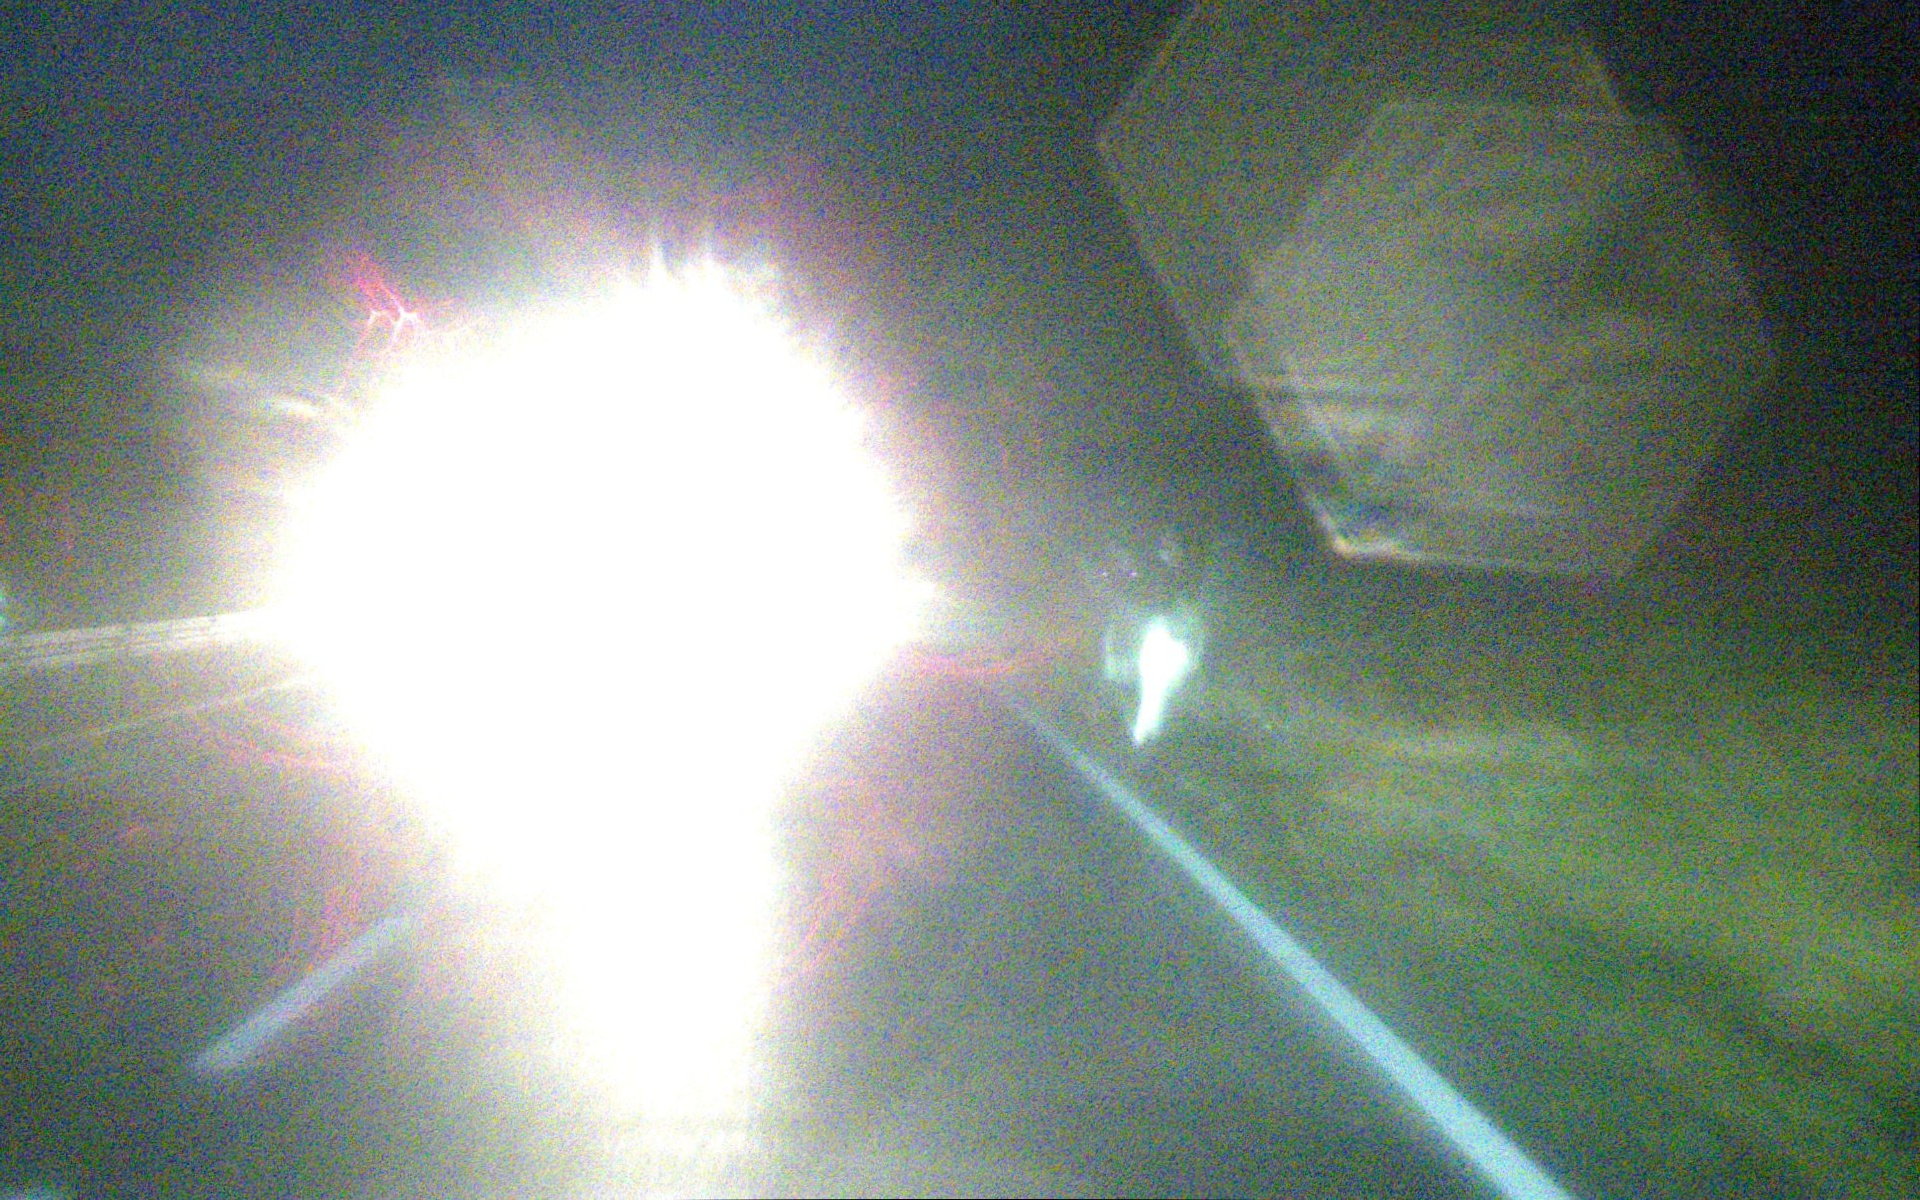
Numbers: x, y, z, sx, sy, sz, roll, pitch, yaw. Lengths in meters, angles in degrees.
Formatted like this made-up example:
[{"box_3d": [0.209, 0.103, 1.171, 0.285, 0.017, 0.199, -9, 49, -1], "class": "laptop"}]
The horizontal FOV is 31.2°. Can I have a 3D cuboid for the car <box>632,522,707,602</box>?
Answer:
[{"box_3d": [-8.506, -1.162, 101.129, 1.993, 2.265, 5.468, 1, 1, -3], "class": "car"}]
